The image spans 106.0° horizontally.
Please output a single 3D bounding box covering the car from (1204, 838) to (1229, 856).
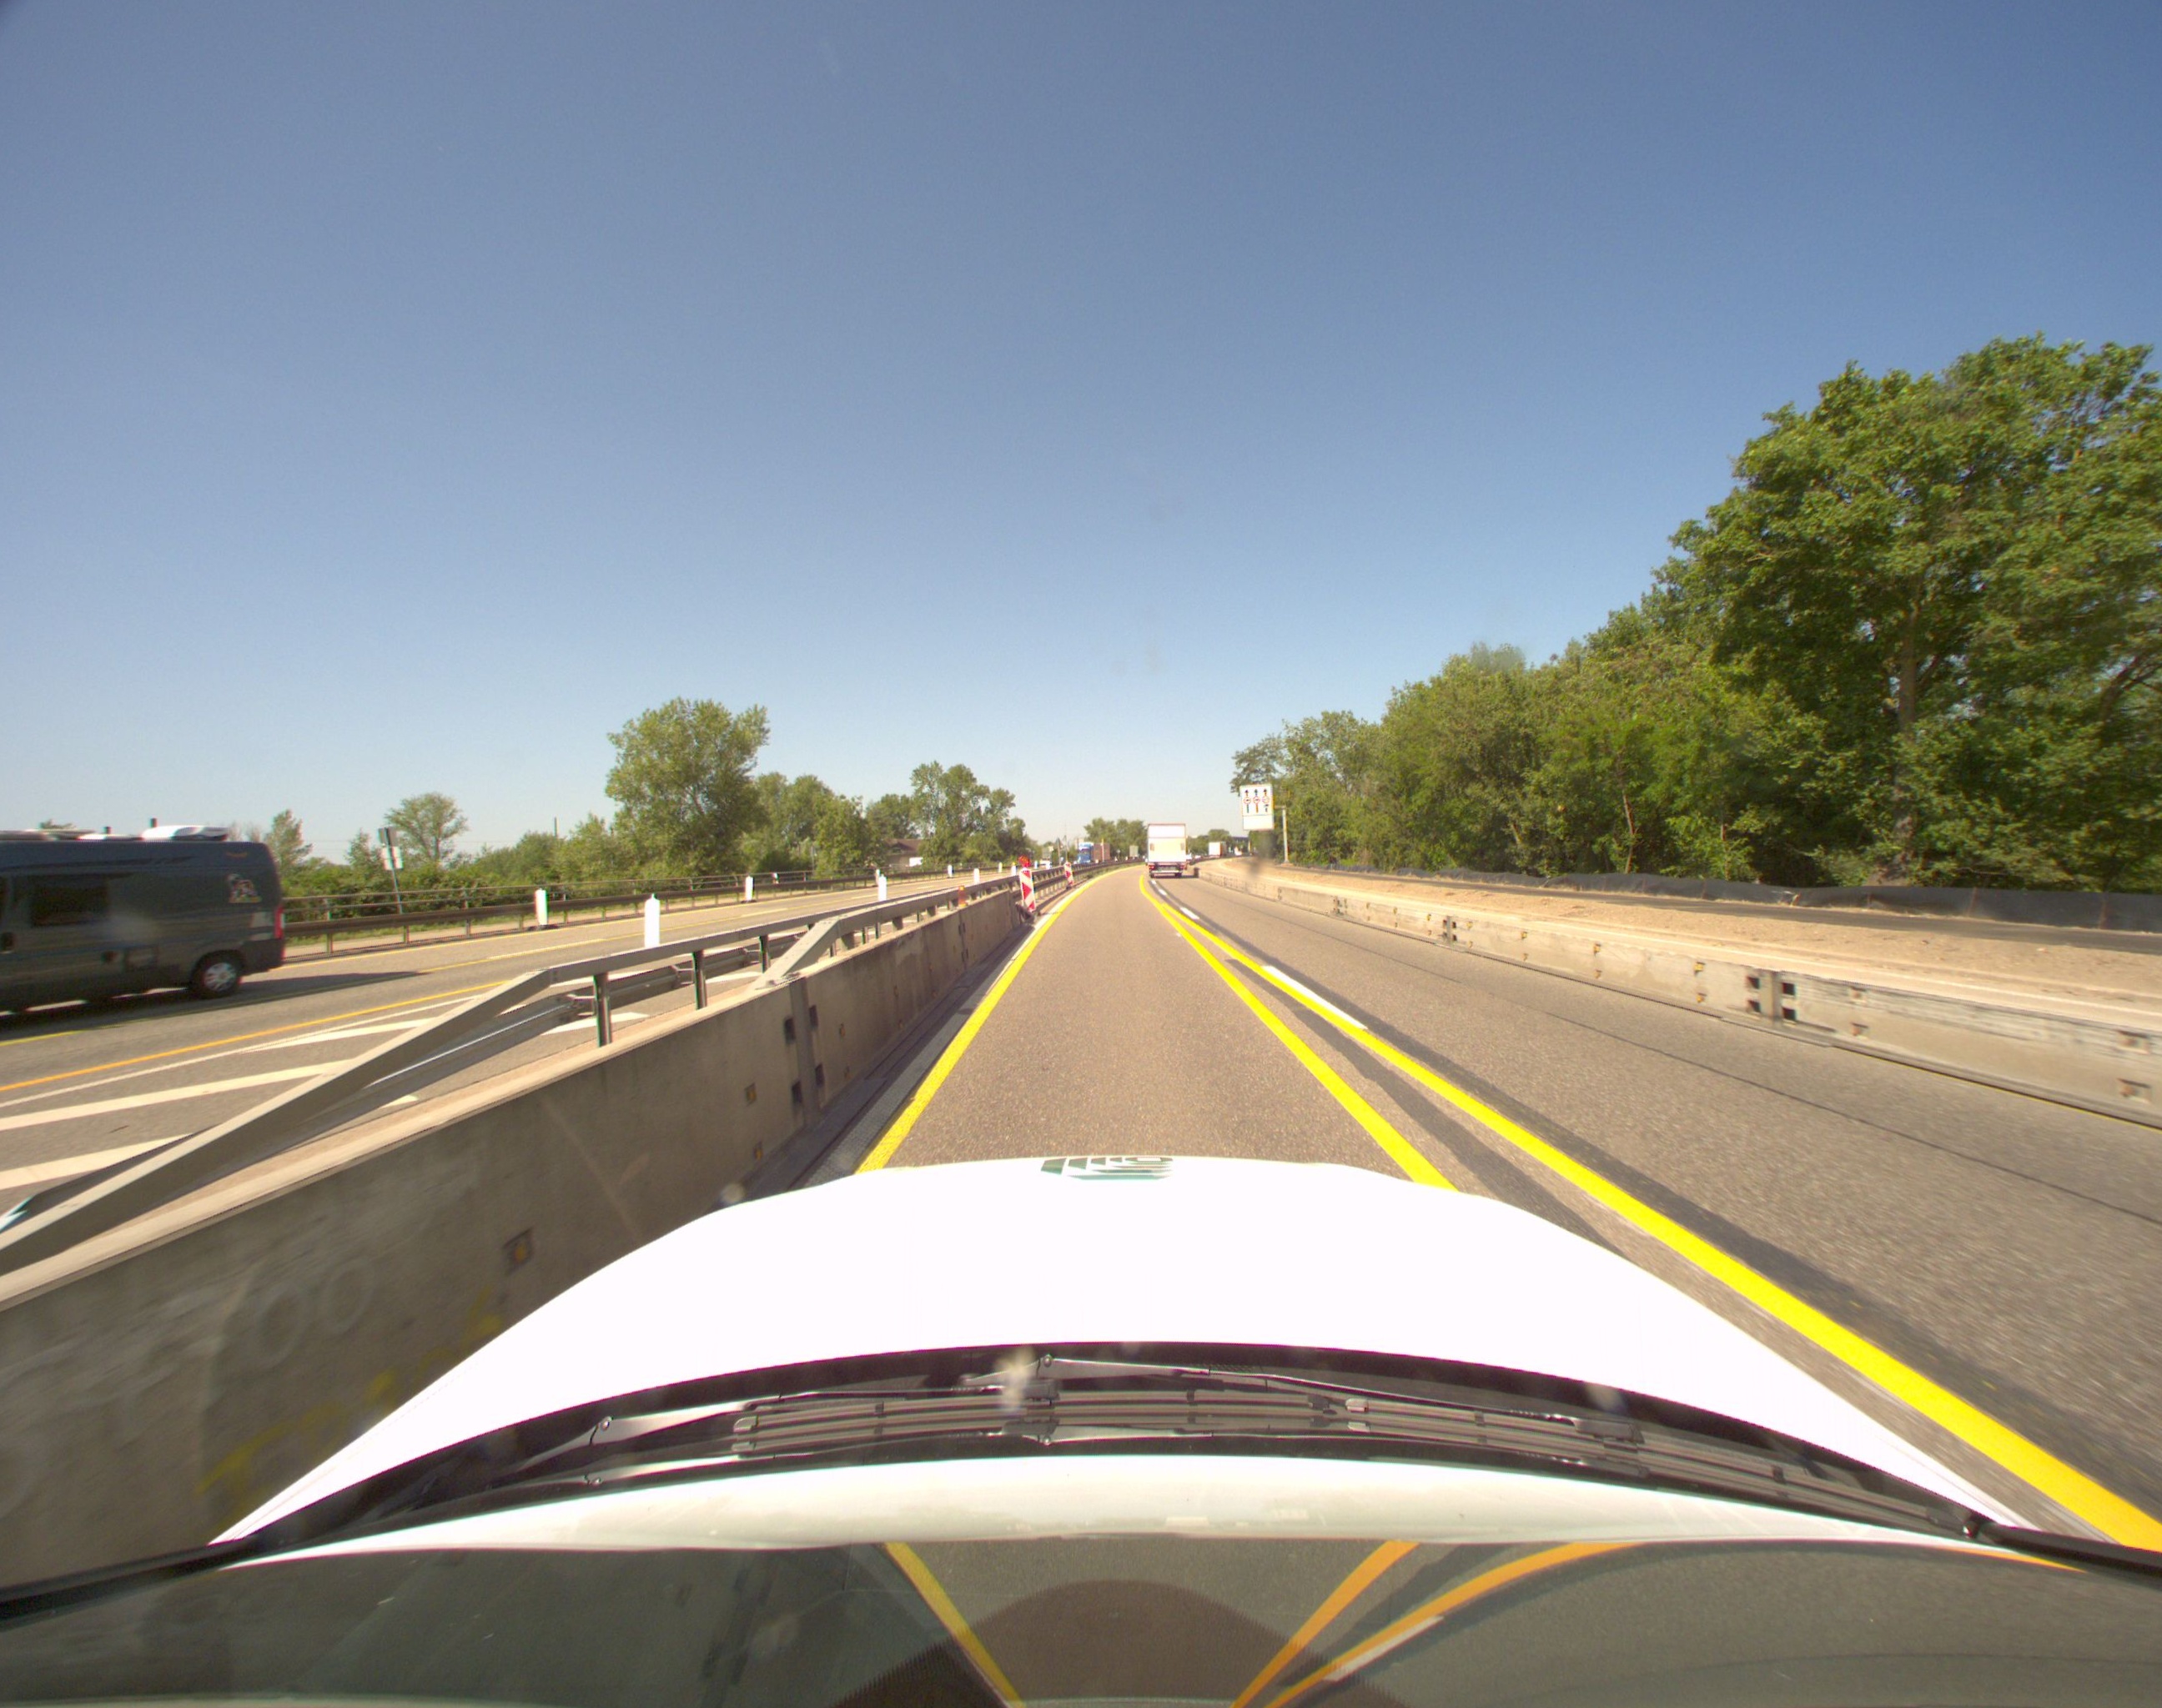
[{"bbox_3d":[33.356,-1.756,199.873,4.173,4.251,10.713,-4,0,18],"label":"car"}]

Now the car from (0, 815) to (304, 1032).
[{"bbox_3d":[-14.288,0.889,10.954,2.138,2.660,5.548,-2,0,2],"label":"car"}]

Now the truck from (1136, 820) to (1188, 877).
[{"bbox_3d":[5.158,-0.366,53.161,2.626,3.427,7.231,0,0,0],"label":"truck"}]

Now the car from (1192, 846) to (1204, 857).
[{"bbox_3d":[23.668,-0.466,164.674,1.980,2.013,4.014,-4,0,12],"label":"car"}]

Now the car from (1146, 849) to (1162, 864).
[{"bbox_3d":[9.806,0.335,109.525,1.806,1.776,4.010,-4,0,9],"label":"car"}]

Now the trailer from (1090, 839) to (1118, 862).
[{"bbox_3d":[4.422,-0.689,154.981,3.015,4.091,9.829,-1,0,16],"label":"trailer"}]

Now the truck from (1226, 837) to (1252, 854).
[{"bbox_3d":[42.629,-2.272,219.337,4.181,4.266,10.300,-4,0,25],"label":"truck"}]

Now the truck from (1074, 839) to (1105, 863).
[{"bbox_3d":[1.608,-0.580,144.999,3.015,4.091,10.667,-1,0,15],"label":"truck"}]

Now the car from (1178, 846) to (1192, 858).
[{"bbox_3d":[17.860,-0.350,140.214,1.980,2.013,4.013,-4,0,11],"label":"car"}]
